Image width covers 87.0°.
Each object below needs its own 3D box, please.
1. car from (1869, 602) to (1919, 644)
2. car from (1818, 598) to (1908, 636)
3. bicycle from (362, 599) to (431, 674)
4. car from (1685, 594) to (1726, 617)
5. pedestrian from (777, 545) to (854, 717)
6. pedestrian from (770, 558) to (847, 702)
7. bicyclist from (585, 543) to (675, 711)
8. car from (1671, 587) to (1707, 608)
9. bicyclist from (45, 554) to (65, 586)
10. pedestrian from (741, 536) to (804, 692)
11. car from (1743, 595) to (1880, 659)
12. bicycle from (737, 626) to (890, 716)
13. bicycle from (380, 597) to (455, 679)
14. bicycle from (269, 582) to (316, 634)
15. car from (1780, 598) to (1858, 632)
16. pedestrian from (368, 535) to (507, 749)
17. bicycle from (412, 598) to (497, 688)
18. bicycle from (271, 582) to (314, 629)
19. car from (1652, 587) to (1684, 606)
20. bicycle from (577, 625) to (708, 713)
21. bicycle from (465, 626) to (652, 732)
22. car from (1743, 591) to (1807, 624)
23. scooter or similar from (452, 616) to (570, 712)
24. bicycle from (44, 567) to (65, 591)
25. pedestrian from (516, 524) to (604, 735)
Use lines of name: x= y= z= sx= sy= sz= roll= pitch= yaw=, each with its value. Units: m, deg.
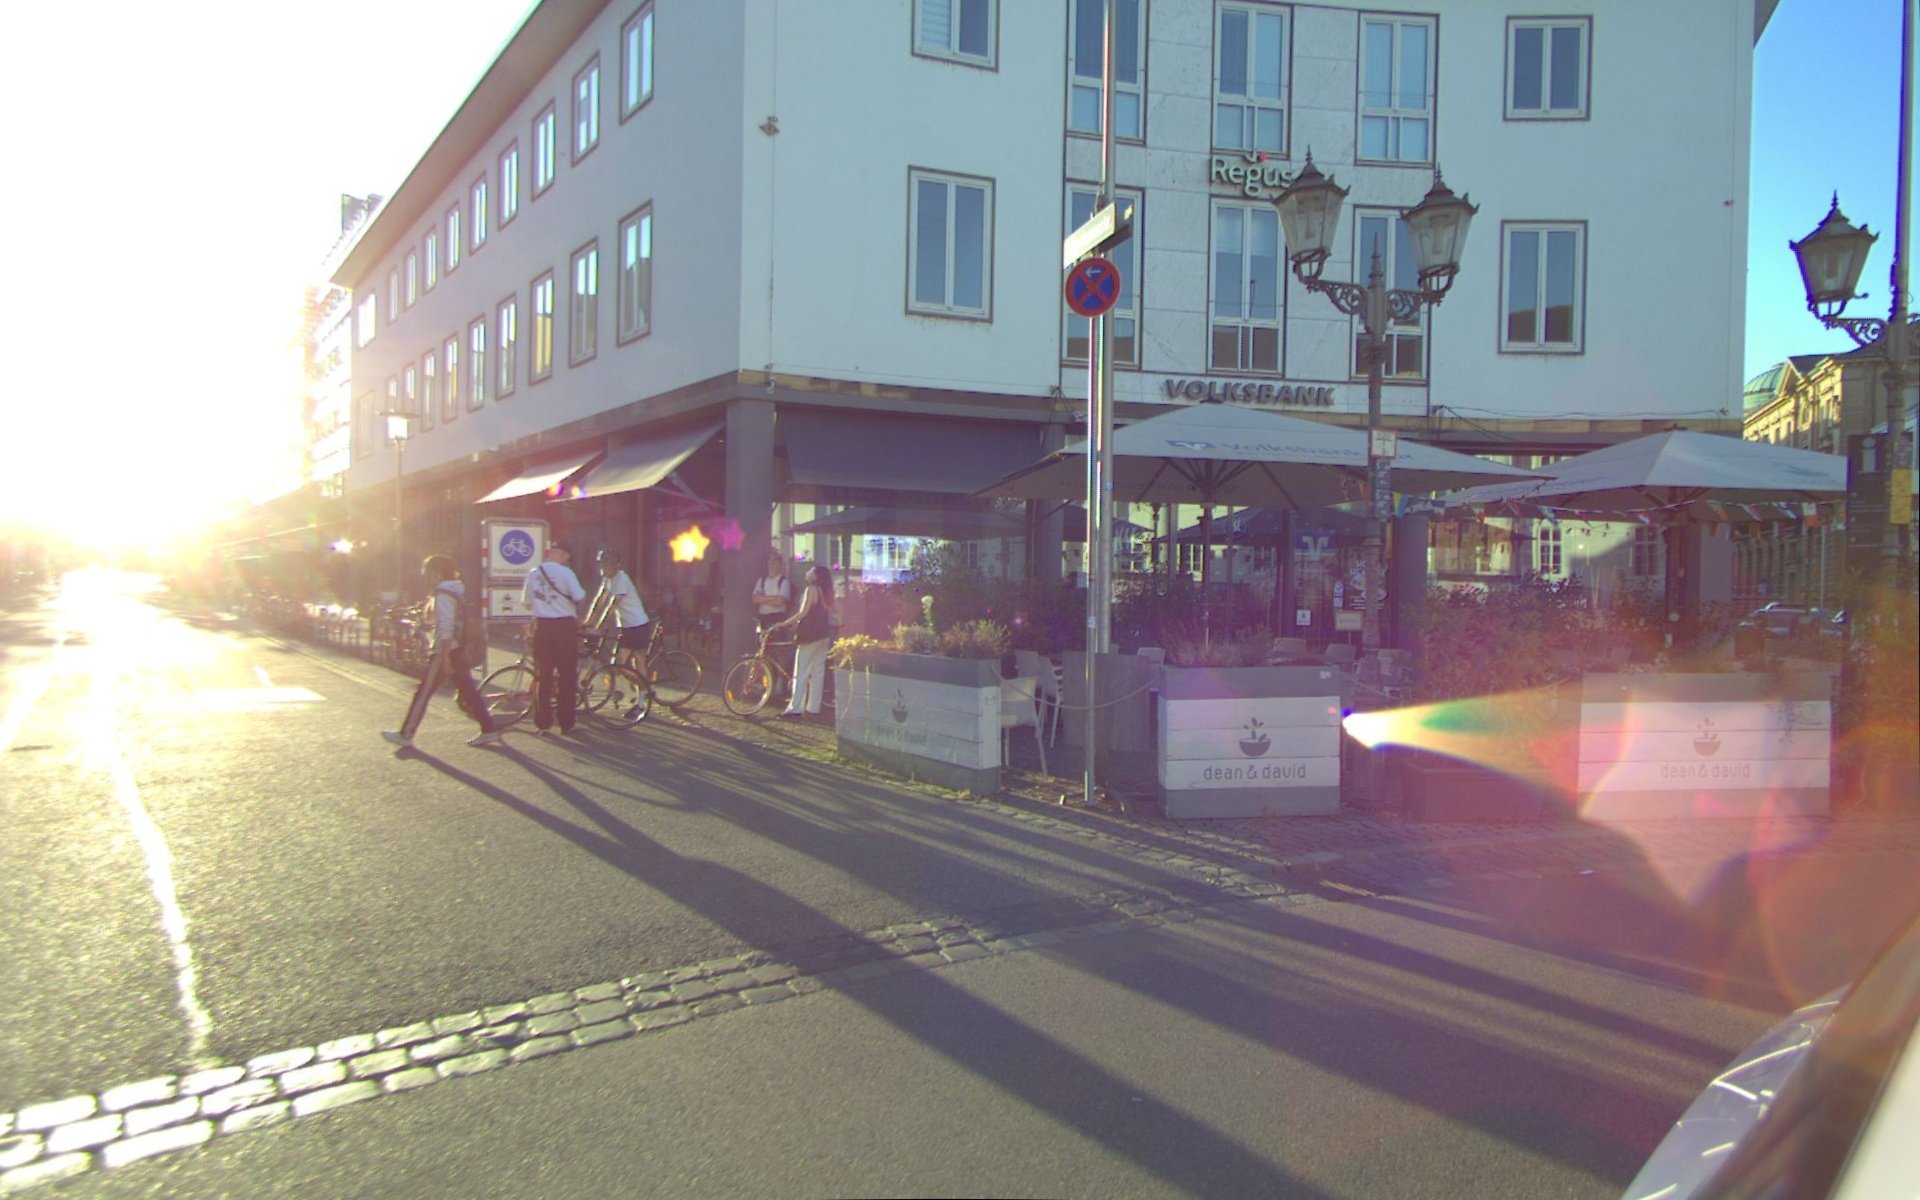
car: x=37.232 y=0.869 z=39.228 sx=1.764 sy=1.510 sz=4.291 roll=1 pitch=1 yaw=25
car: x=39.483 y=0.689 z=44.377 sx=1.764 sy=1.510 sz=4.291 roll=1 pitch=1 yaw=25
bicycle: x=-9.592 y=0.583 z=17.199 sx=0.514 sy=1.156 sz=1.959 roll=0 pitch=1 yaw=-44
car: x=57.073 y=0.399 z=77.532 sx=1.765 sy=1.687 sz=4.288 roll=1 pitch=1 yaw=27
pedestrian: x=-1.598 y=0.325 z=11.262 sx=0.504 sy=1.841 sz=0.711 roll=1 pitch=1 yaw=29
pedestrian: x=-1.861 y=0.345 z=12.480 sx=0.614 sy=1.697 sz=0.726 roll=1 pitch=1 yaw=29
bicyclist: x=-3.615 y=0.273 z=11.119 sx=0.478 sy=1.765 sz=0.826 roll=1 pitch=1 yaw=29
car: x=59.730 y=-0.237 z=82.966 sx=1.765 sy=1.687 sz=4.288 roll=1 pitch=1 yaw=27
bicyclist: x=-48.892 y=-1.601 z=54.652 sx=0.785 sy=1.711 sz=0.898 roll=0 pitch=1 yaw=-43
pedestrian: x=-2.416 y=0.168 z=13.028 sx=0.576 sy=1.947 sz=0.537 roll=1 pitch=1 yaw=29
car: x=21.699 y=0.621 z=25.974 sx=1.765 sy=1.442 sz=3.925 roll=1 pitch=1 yaw=26
bicycle: x=-1.657 y=0.778 z=11.516 sx=1.642 sy=0.946 sz=0.475 roll=0 pitch=1 yaw=-26
bicycle: x=-8.503 y=0.565 z=15.826 sx=0.514 sy=1.156 sz=1.959 roll=0 pitch=1 yaw=-44
bicycle: x=-16.894 y=0.179 z=25.588 sx=0.784 sy=1.232 sz=2.231 roll=0 pitch=1 yaw=-39
car: x=41.611 y=0.695 z=49.129 sx=1.764 sy=1.510 sz=4.291 roll=1 pitch=1 yaw=25
pedestrian: x=-4.561 y=0.342 z=8.909 sx=0.914 sy=1.762 sz=0.923 roll=1 pitch=1 yaw=-16
bicycle: x=-7.236 y=0.571 z=14.442 sx=0.514 sy=1.156 sz=1.959 roll=0 pitch=1 yaw=-44
bicycle: x=-18.812 y=0.133 z=28.513 sx=0.784 sy=1.232 sz=2.231 roll=0 pitch=1 yaw=-39
car: x=64.925 y=-0.328 z=92.864 sx=1.765 sy=1.687 sz=4.288 roll=1 pitch=1 yaw=27
bicycle: x=-3.520 y=0.736 z=11.316 sx=0.478 sy=0.859 sz=1.468 roll=1 pitch=1 yaw=29
bicycle: x=-3.893 y=0.737 z=9.850 sx=1.642 sy=0.946 sz=0.475 roll=0 pitch=1 yaw=-26
car: x=45.198 y=0.383 z=56.211 sx=1.764 sy=1.687 sz=4.291 roll=1 pitch=1 yaw=25
scooter or similar: x=-5.180 y=0.714 z=11.682 sx=1.181 sy=1.024 sz=0.487 roll=0 pitch=1 yaw=-32
bicycle: x=-48.933 y=-1.134 z=54.700 sx=0.785 sy=1.232 sz=2.228 roll=0 pitch=1 yaw=-43
pedestrian: x=-3.875 y=0.268 z=9.803 sx=0.616 sy=1.952 sz=0.645 roll=0 pitch=1 yaw=-39
